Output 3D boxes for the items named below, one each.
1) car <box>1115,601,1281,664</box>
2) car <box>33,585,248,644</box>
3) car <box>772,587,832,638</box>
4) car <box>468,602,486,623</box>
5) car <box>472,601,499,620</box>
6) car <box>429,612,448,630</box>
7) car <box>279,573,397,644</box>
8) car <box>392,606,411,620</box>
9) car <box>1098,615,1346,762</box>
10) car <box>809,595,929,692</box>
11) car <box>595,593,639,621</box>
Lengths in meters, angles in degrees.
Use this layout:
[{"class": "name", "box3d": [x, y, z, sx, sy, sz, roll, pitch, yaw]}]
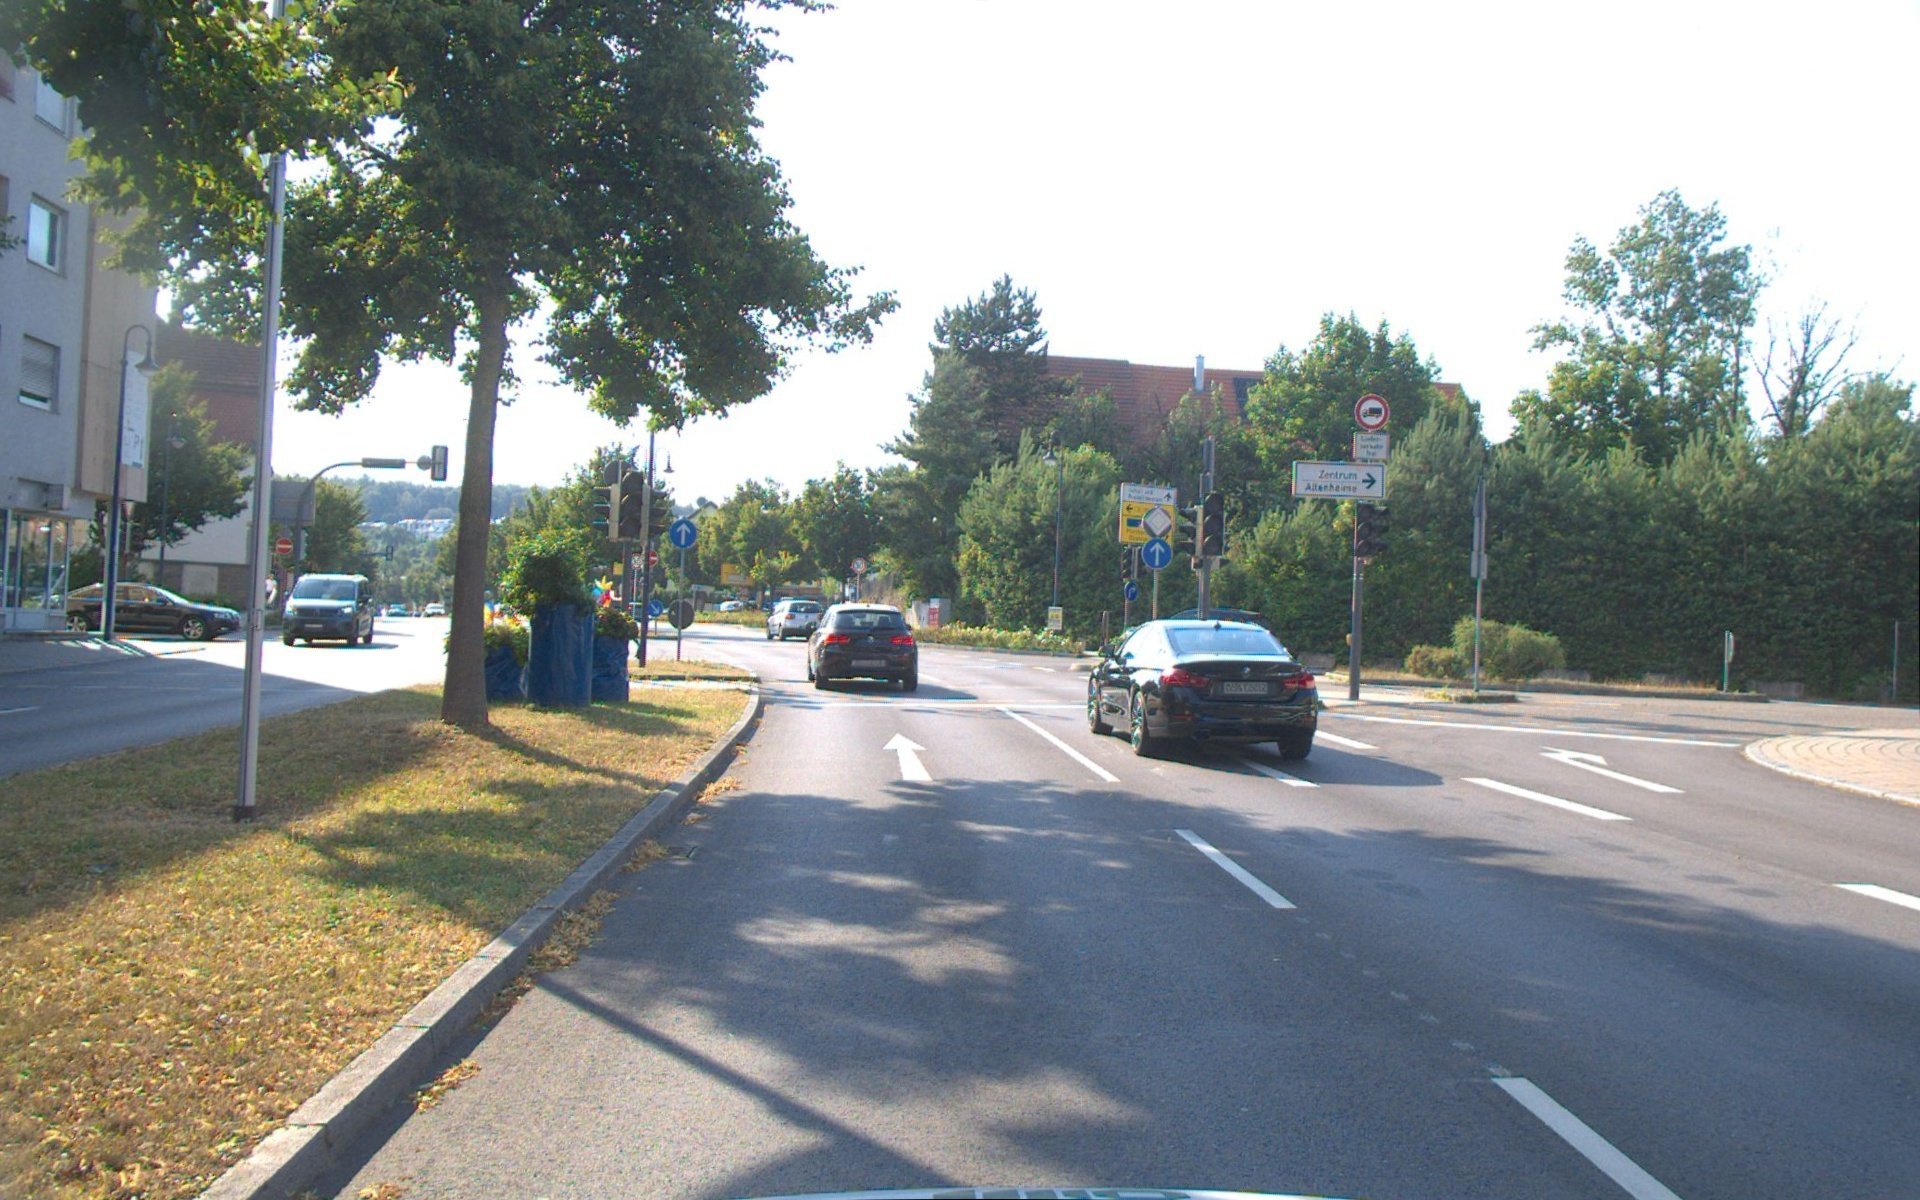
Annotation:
[{"class": "car", "box3d": [6.585, 0.887, 45.864, 4.179, 1.594, 1.788, 1, 0, 31]}, {"class": "car", "box3d": [-21.464, 0.392, 43.538, 4.783, 1.462, 1.907, 1, -1, -18]}, {"class": "car", "box3d": [-6.004, 0.472, 62.312, 1.890, 1.800, 4.443, 1, 0, -10]}, {"class": "car", "box3d": [-51.033, 1.312, 174.707, 1.744, 2.049, 3.982, 2, 0, -16]}, {"class": "car", "box3d": [-47.486, 1.018, 165.428, 2.185, 1.800, 4.426, 1, 0, -21]}, {"class": "car", "box3d": [-52.695, 2.121, 167.061, 1.704, 1.708, 3.978, 1, -1, -19]}, {"class": "car", "box3d": [-16.367, 0.228, 43.776, 1.817, 1.767, 4.914, 1, 0, -8]}, {"class": "car", "box3d": [-56.638, 1.297, 167.682, 1.729, 1.385, 4.462, 1, 0, -18]}, {"class": "car", "box3d": [2.711, 0.875, 18.122, 1.882, 1.388, 4.351, 1, -1, -2]}, {"class": "car", "box3d": [-1.524, 0.727, 29.151, 1.685, 1.516, 4.354, 2, -1, 2]}, {"class": "car", "box3d": [-22.942, 0.460, 110.534, 2.185, 1.800, 4.426, 1, 0, -21]}]
